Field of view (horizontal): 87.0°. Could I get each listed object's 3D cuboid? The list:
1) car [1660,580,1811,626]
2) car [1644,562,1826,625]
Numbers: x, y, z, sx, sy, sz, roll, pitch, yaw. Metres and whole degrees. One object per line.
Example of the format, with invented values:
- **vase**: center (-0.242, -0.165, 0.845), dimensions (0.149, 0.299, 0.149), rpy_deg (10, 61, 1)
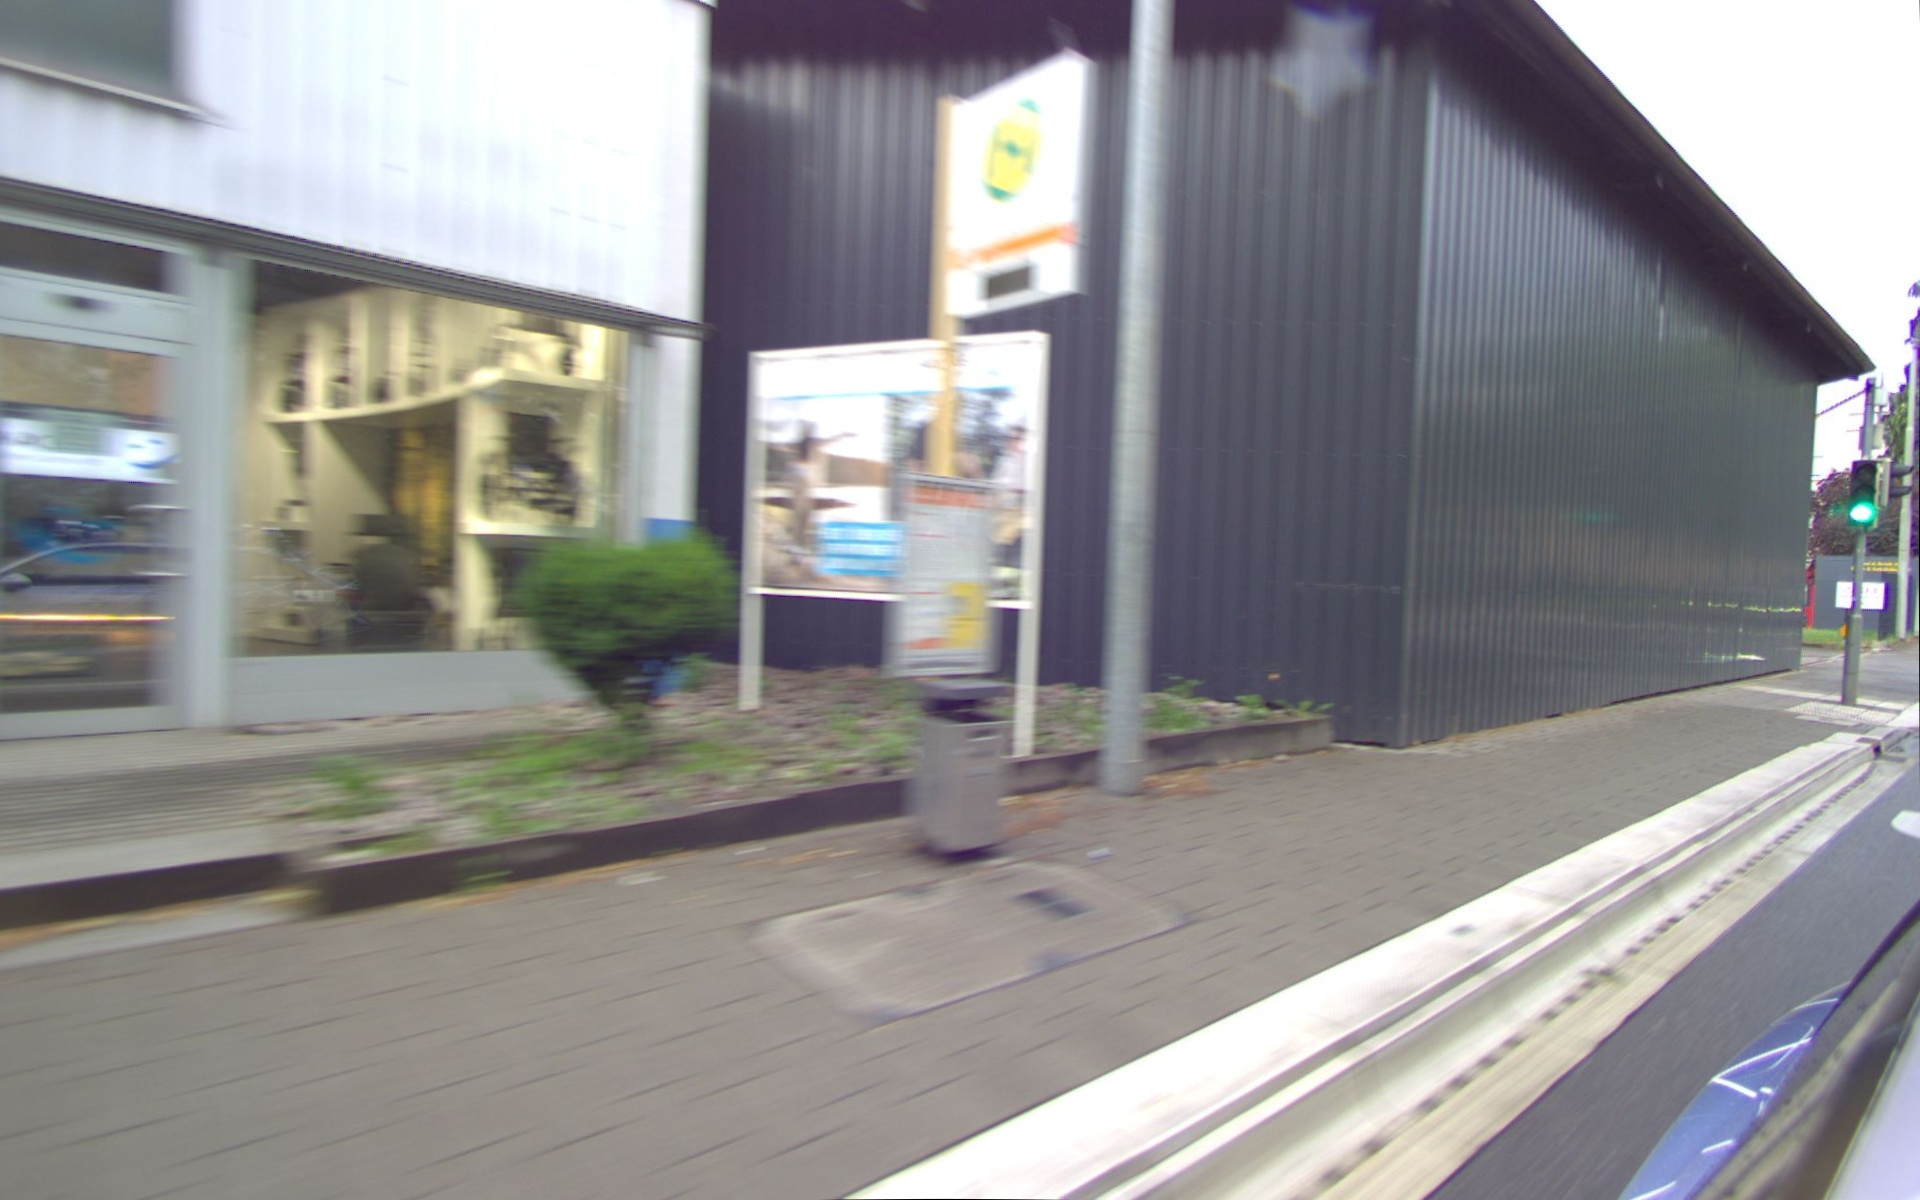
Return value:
- **car**: center (29.976, 0.076, 39.211), dimensions (1.764, 1.549, 4.386), rpy_deg (-2, 3, -42)
- **car**: center (31.507, -0.321, 41.289), dimensions (1.966, 2.238, 5.577), rpy_deg (1, 2, -42)
